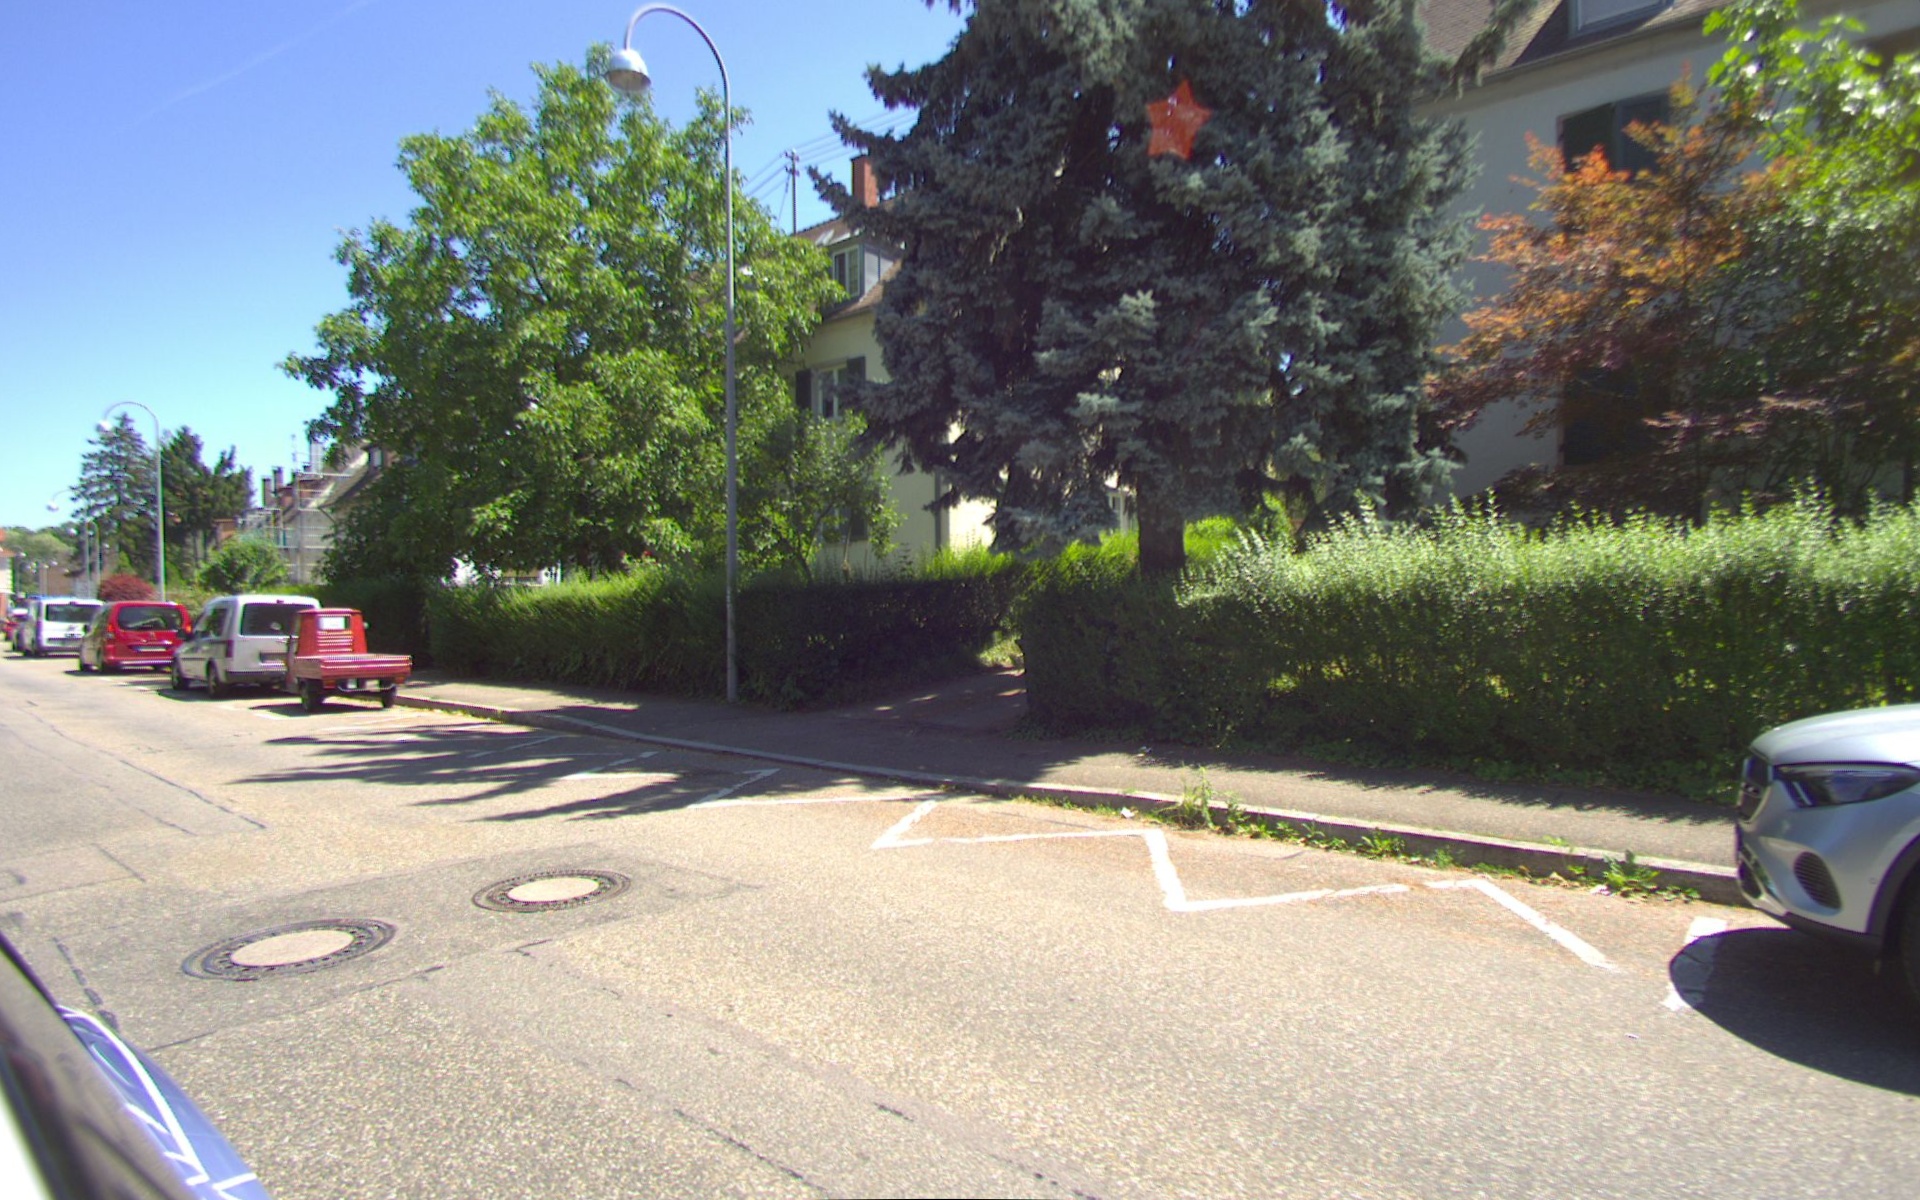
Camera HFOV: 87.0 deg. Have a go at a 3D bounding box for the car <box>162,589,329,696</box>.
[{"bbox_3d":[-13.275,0.725,18.698,4.353,1.765,1.630,-1,-1,42],"label":"car"}]

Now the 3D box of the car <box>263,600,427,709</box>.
[{"bbox_3d":[-9.523,0.801,15.619,2.840,1.515,1.396,-1,-2,42],"label":"car"}]

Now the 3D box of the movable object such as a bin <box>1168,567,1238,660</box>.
[{"bbox_3d":[3.423,0.184,14.266,0.565,1.236,0.707,-6,3,-42],"label":"movable object such as a bin"}]

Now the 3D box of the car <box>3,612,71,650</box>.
[{"bbox_3d":[-35.985,1.191,39.433,4.237,1.395,1.679,-1,-2,44],"label":"car"}]

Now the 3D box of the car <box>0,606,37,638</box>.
[{"bbox_3d":[-53.828,1.269,57.705,1.702,1.749,3.892,1,-2,-41],"label":"car"}]

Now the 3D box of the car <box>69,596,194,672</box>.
[{"bbox_3d":[-20.833,0.820,25.385,4.456,1.740,1.739,-1,-2,41],"label":"car"}]

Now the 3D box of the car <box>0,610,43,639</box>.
[{"bbox_3d":[-50.384,1.296,53.874,1.737,1.489,4.068,1,-2,-34],"label":"car"}]

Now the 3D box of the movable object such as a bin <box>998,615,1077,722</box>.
[{"bbox_3d":[0.830,0.721,10.846,0.616,1.073,0.481,-2,3,39],"label":"movable object such as a bin"}]

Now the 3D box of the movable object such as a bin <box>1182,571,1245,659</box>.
[{"bbox_3d":[3.729,0.217,14.890,0.549,1.236,0.670,-4,2,-42],"label":"movable object such as a bin"}]

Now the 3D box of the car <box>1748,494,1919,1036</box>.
[{"bbox_3d":[5.060,0.517,2.647,4.707,1.684,1.832,-1,-2,39],"label":"car"}]

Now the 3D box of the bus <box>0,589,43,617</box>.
[{"bbox_3d":[-110.681,0.326,118.901,2.865,3.103,12.592,-1,1,-36],"label":"bus"}]

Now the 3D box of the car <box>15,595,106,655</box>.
[{"bbox_3d":[-30.667,0.831,34.461,4.980,1.895,1.866,-1,-1,43],"label":"car"}]
